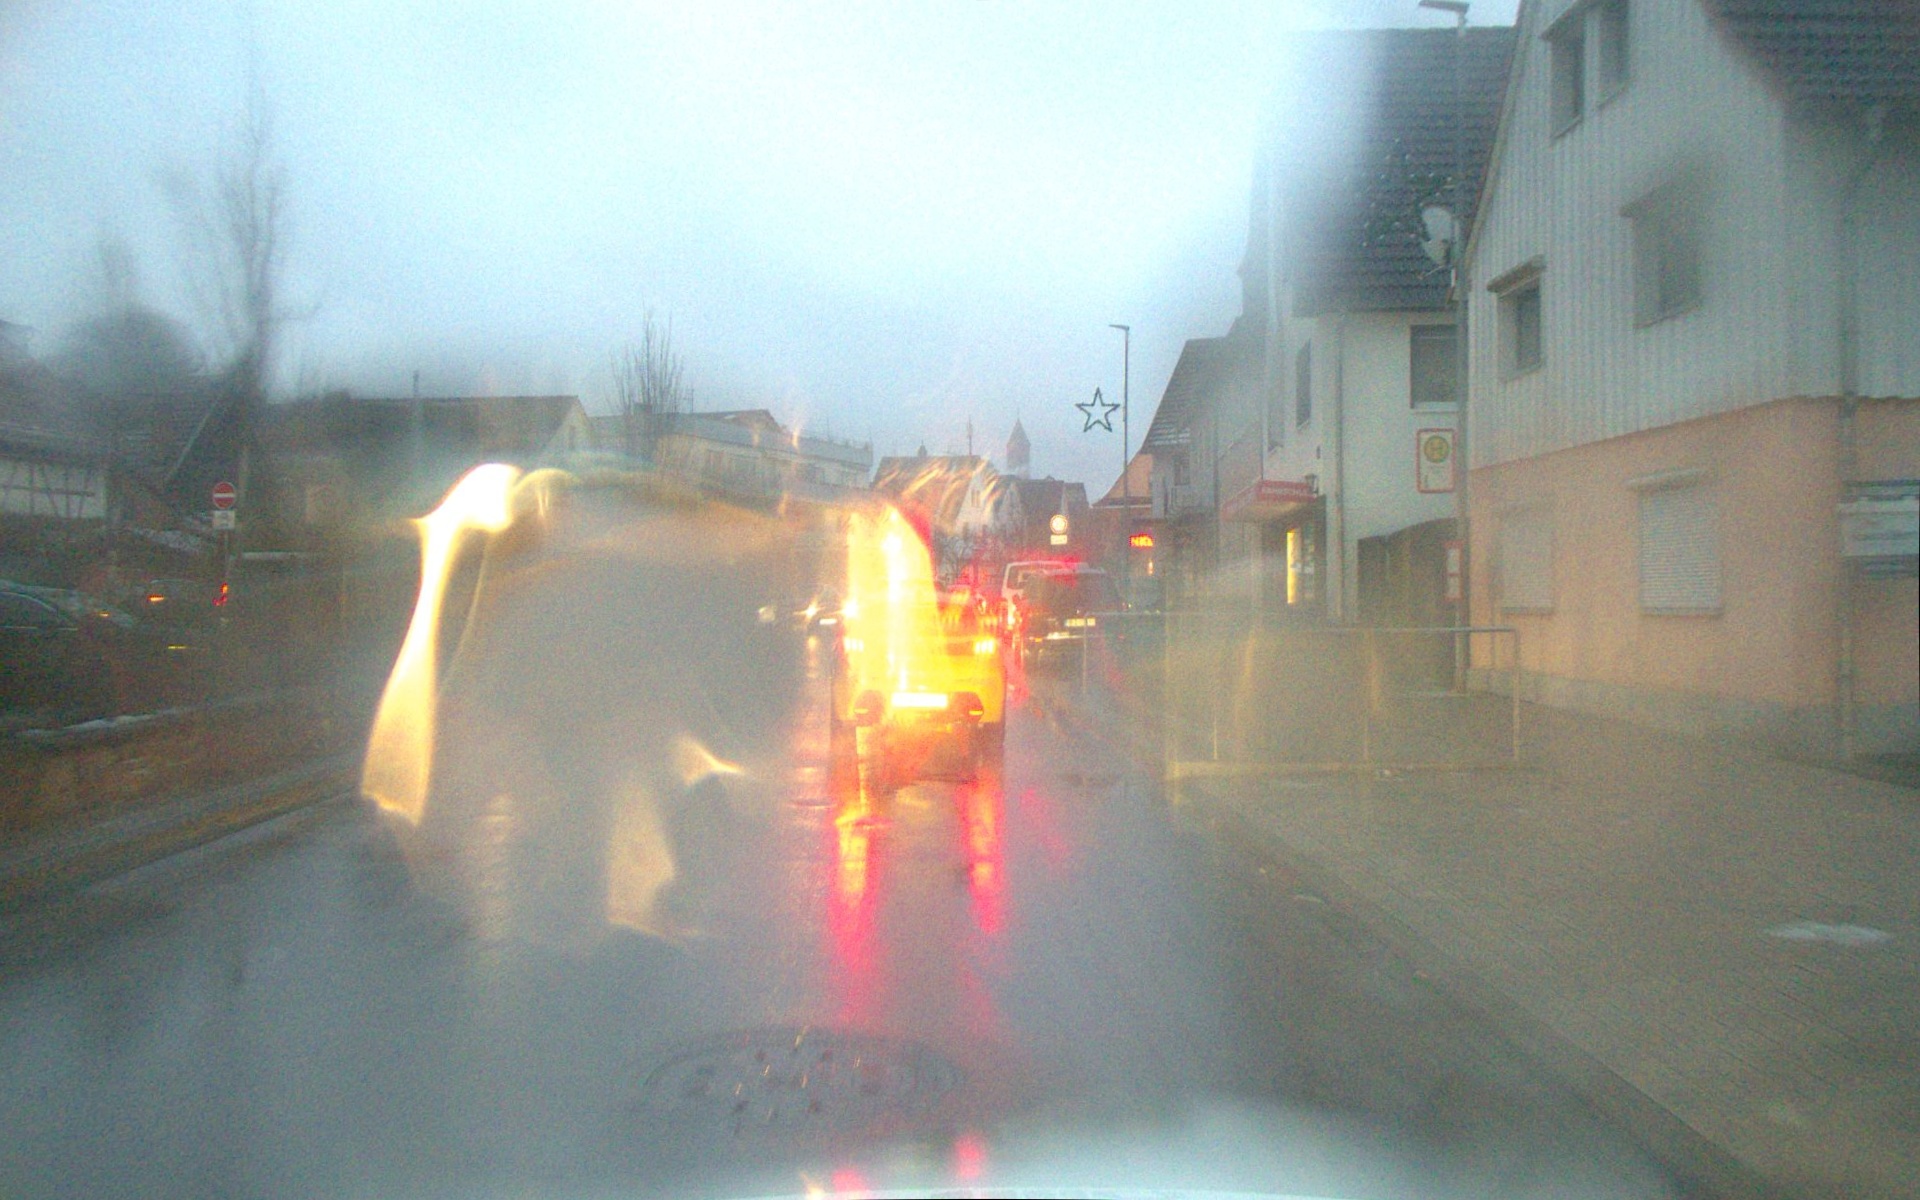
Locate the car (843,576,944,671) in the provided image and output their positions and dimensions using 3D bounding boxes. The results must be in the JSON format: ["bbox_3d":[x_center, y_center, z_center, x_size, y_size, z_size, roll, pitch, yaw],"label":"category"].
[{"bbox_3d":[-1.205,0.411,31.453,1.730,1.657,3.586,2,0,0],"label":"car"}]

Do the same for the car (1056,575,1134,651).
[{"bbox_3d":[3.908,0.428,48.408,1.832,2.033,4.442,1,-2,-1],"label":"car"}]

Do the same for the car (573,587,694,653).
[{"bbox_3d":[-11.540,0.724,58.298,4.308,2.204,1.987,-1,-3,42],"label":"car"}]

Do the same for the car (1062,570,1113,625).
[{"bbox_3d":[4.902,-0.065,63.442,1.831,1.867,4.445,1,-2,5],"label":"car"}]

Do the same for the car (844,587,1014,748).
[{"bbox_3d":[-0.328,0.613,16.679,1.531,1.437,3.016,2,0,-2],"label":"car"}]

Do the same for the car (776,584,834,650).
[{"bbox_3d":[-5.567,0.660,59.745,1.881,2.254,3.971,2,-2,-4],"label":"car"}]

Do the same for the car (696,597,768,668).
[{"bbox_3d":[-7.099,1.049,51.794,1.881,2.063,3.971,2,-2,-4],"label":"car"}]

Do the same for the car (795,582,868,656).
[{"bbox_3d":[-3.970,0.647,51.751,1.953,2.149,3.999,1,-2,-1],"label":"car"}]

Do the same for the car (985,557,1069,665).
[{"bbox_3d":[1.640,0.345,41.686,1.832,2.512,4.442,1,-2,-1],"label":"car"}]

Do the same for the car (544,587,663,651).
[{"bbox_3d":[-11.972,0.648,55.460,4.095,2.011,1.811,-1,-3,42],"label":"car"}]

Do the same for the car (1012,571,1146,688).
[{"bbox_3d":[2.027,0.507,29.304,1.957,1.897,4.081,1,-1,-1],"label":"car"}]

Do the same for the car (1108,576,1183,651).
[{"bbox_3d":[6.042,0.493,54.318,1.953,2.288,3.999,1,-2,0],"label":"car"}]

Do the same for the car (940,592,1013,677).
[{"bbox_3d":[0.435,1.023,47.626,1.953,2.291,3.999,1,-2,-1],"label":"car"}]

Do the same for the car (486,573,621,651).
[{"bbox_3d":[-12.695,0.398,51.563,4.308,2.291,1.987,-1,-3,42],"label":"car"}]

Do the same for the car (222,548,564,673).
[{"bbox_3d":[-9.562,0.164,27.977,5.281,1.849,1.713,2,0,12],"label":"car"}]
